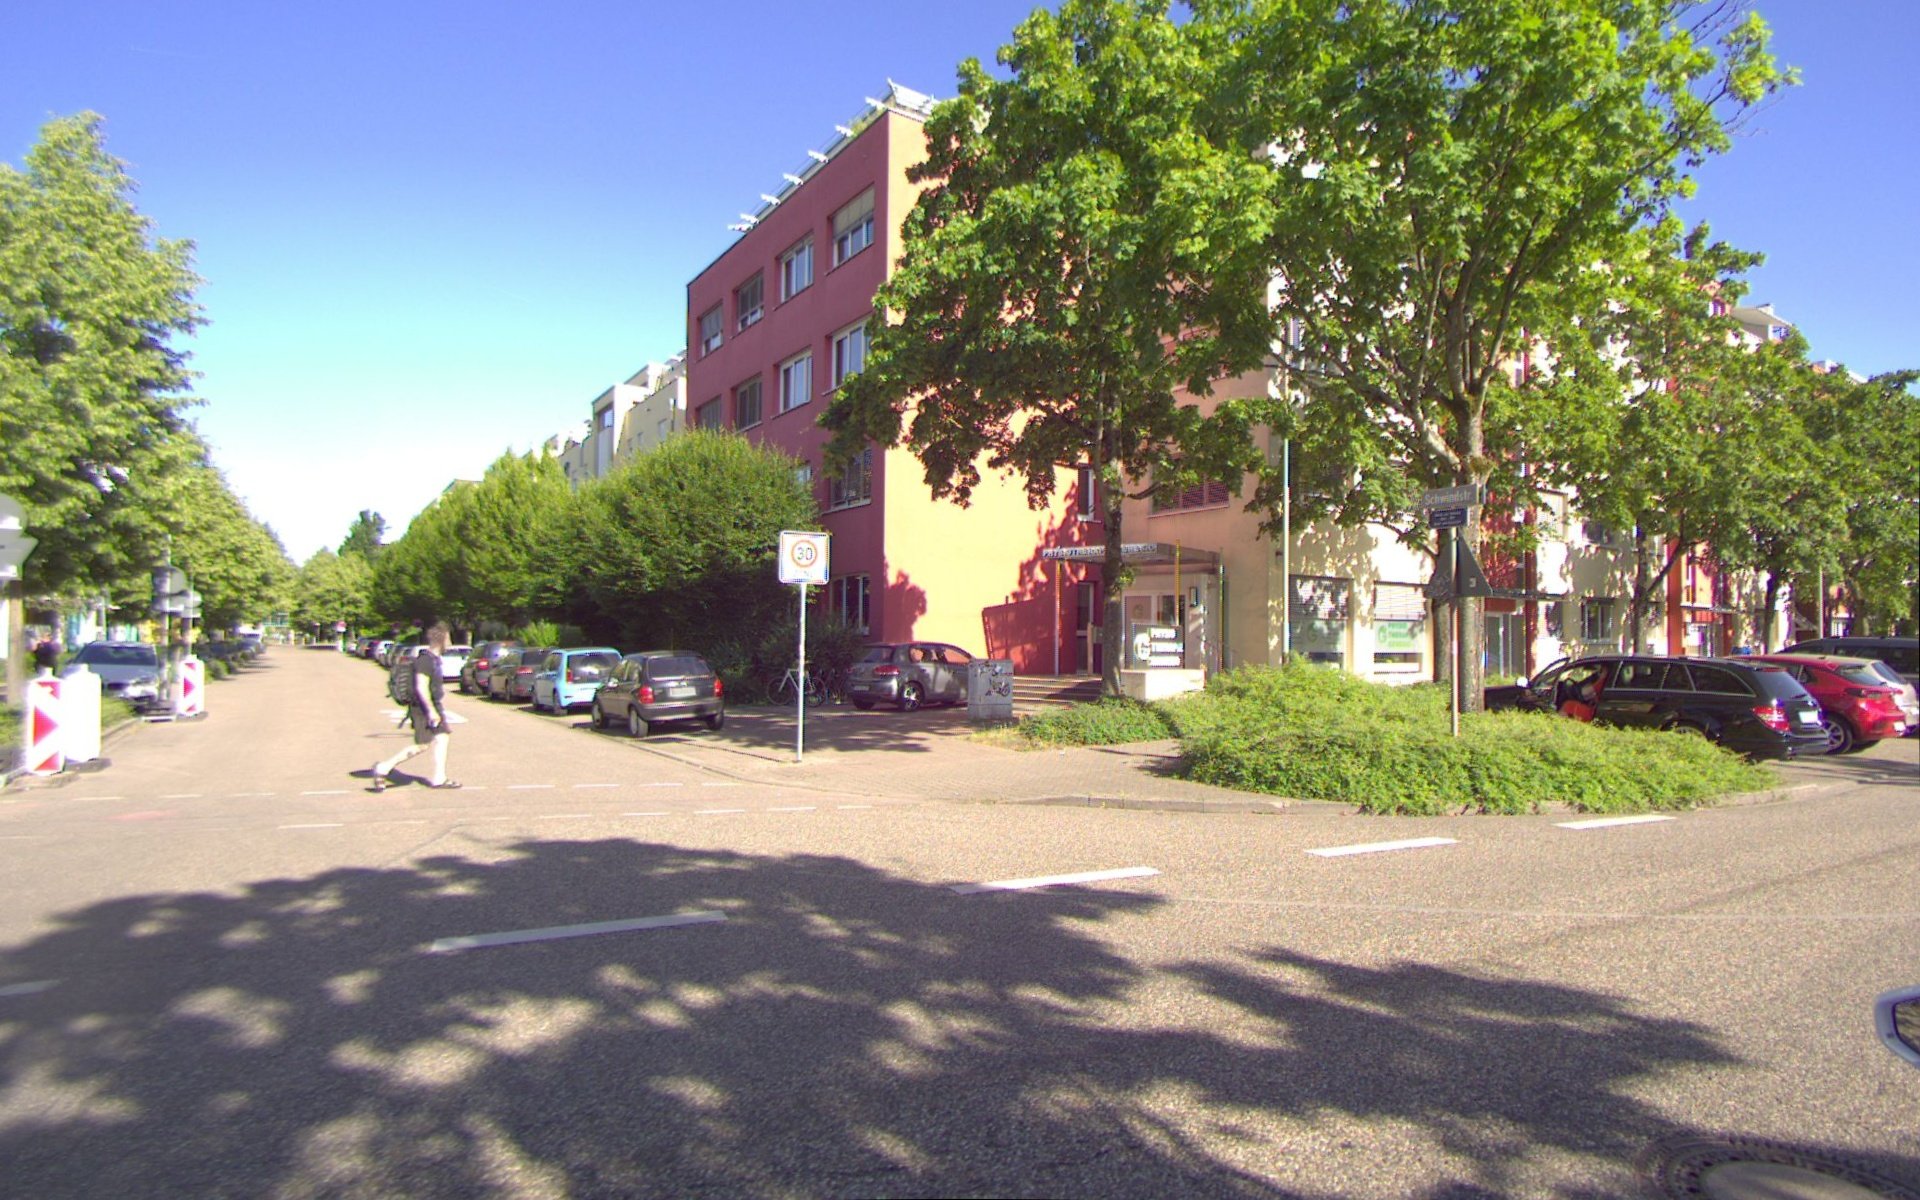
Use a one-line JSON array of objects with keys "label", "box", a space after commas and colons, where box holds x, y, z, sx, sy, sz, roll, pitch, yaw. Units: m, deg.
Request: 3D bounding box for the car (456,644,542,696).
[{"label": "car", "box": [-15.019, 2.229, 32.634, 1.916, 1.524, 3.971, -1, -2, -34]}]

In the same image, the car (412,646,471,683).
[{"label": "car", "box": [-23.504, 2.863, 45.495, 1.916, 1.524, 3.971, -1, -2, -34]}]

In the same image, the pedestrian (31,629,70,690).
[{"label": "pedestrian", "box": [-23.023, 1.505, 25.439, 0.677, 1.508, 0.836, 3, -3, -42]}]

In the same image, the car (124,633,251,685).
[{"label": "car", "box": [-31.512, 2.402, 41.117, 3.963, 2.040, 1.979, 2, -3, -37]}]

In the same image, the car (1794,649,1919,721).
[{"label": "car", "box": [21.303, 1.906, 22.535, 1.859, 1.466, 3.699, 2, -1, -37]}]

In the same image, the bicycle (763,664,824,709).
[{"label": "bicycle", "box": [-3.926, 2.029, 23.647, 1.649, 0.999, 0.448, -2, -3, 40]}]

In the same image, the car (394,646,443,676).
[{"label": "car", "box": [-29.203, 3.258, 54.121, 1.916, 1.524, 3.883, -1, -2, -34]}]

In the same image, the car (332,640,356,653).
[{"label": "car", "box": [-69.566, 5.269, 113.435, 1.981, 1.449, 3.960, 2, -3, -36]}]

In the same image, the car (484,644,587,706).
[{"label": "car", "box": [-11.895, 2.020, 27.994, 1.916, 1.524, 3.971, -1, -2, -34]}]

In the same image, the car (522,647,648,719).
[{"label": "car", "box": [-8.934, 1.881, 23.742, 1.916, 1.469, 3.971, -1, -2, -34]}]

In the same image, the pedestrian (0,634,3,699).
[{"label": "pedestrian", "box": [-22.717, 1.559, 23.213, 0.713, 1.534, 0.790, 2, -1, -36]}]

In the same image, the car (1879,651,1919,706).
[{"label": "car", "box": [27.157, 2.164, 26.723, 1.822, 1.446, 3.702, 2, -1, -34]}]

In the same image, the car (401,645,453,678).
[{"label": "car", "box": [-26.744, 3.044, 50.329, 1.916, 1.524, 3.883, -1, -2, -34]}]

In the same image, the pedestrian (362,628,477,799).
[{"label": "pedestrian", "box": [-5.832, 1.193, 10.856, 1.010, 1.748, 0.654, 2, -4, -30]}]

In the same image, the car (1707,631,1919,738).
[{"label": "car", "box": [17.086, 1.567, 19.436, 1.767, 1.835, 3.869, 2, -1, -33]}]

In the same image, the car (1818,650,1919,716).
[{"label": "car", "box": [23.128, 2.001, 24.008, 1.843, 1.466, 3.699, 2, -1, -37]}]

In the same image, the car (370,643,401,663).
[{"label": "car", "box": [-47.526, 4.398, 83.040, 1.916, 1.524, 3.883, -1, -2, -34]}]

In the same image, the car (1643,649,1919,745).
[{"label": "car", "box": [15.199, 1.698, 18.591, 1.721, 1.442, 3.869, 2, -1, -33]}]

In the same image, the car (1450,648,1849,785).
[{"label": "car", "box": [9.278, 1.464, 13.920, 1.719, 1.442, 4.243, 2, -1, -30]}]

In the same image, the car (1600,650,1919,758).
[{"label": "car", "box": [13.146, 1.619, 16.721, 1.721, 1.442, 3.869, 2, -1, -33]}]

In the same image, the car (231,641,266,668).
[{"label": "car", "box": [-50.122, 3.821, 70.716, 1.829, 1.829, 3.957, 2, -3, -38]}]

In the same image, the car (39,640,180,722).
[{"label": "car", "box": [-19.518, 1.780, 23.246, 1.979, 1.615, 4.209, 1, -2, -34]}]

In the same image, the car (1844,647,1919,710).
[{"label": "car", "box": [25.160, 2.026, 25.545, 1.841, 1.528, 3.702, 2, -1, -34]}]

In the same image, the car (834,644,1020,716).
[{"label": "car", "box": [-0.660, 1.720, 22.392, 1.716, 1.462, 4.107, -3, -4, 44]}]

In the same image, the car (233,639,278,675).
[{"label": "car", "box": [-39.086, 3.116, 55.711, 1.829, 1.829, 3.957, 2, -2, -38]}]

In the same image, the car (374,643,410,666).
[{"label": "car", "box": [-39.713, 3.793, 70.205, 1.916, 1.524, 3.883, -1, -2, -34]}]

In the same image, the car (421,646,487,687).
[{"label": "car", "box": [-20.909, 2.709, 41.442, 1.916, 1.524, 3.971, -1, -2, -34]}]

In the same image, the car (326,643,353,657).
[{"label": "car", "box": [-64.908, 5.189, 105.110, 1.982, 1.449, 4.595, 2, -3, -37]}]

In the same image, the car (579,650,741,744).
[{"label": "car", "box": [-5.653, 1.689, 18.624, 1.785, 1.466, 3.959, -1, -2, -34]}]
